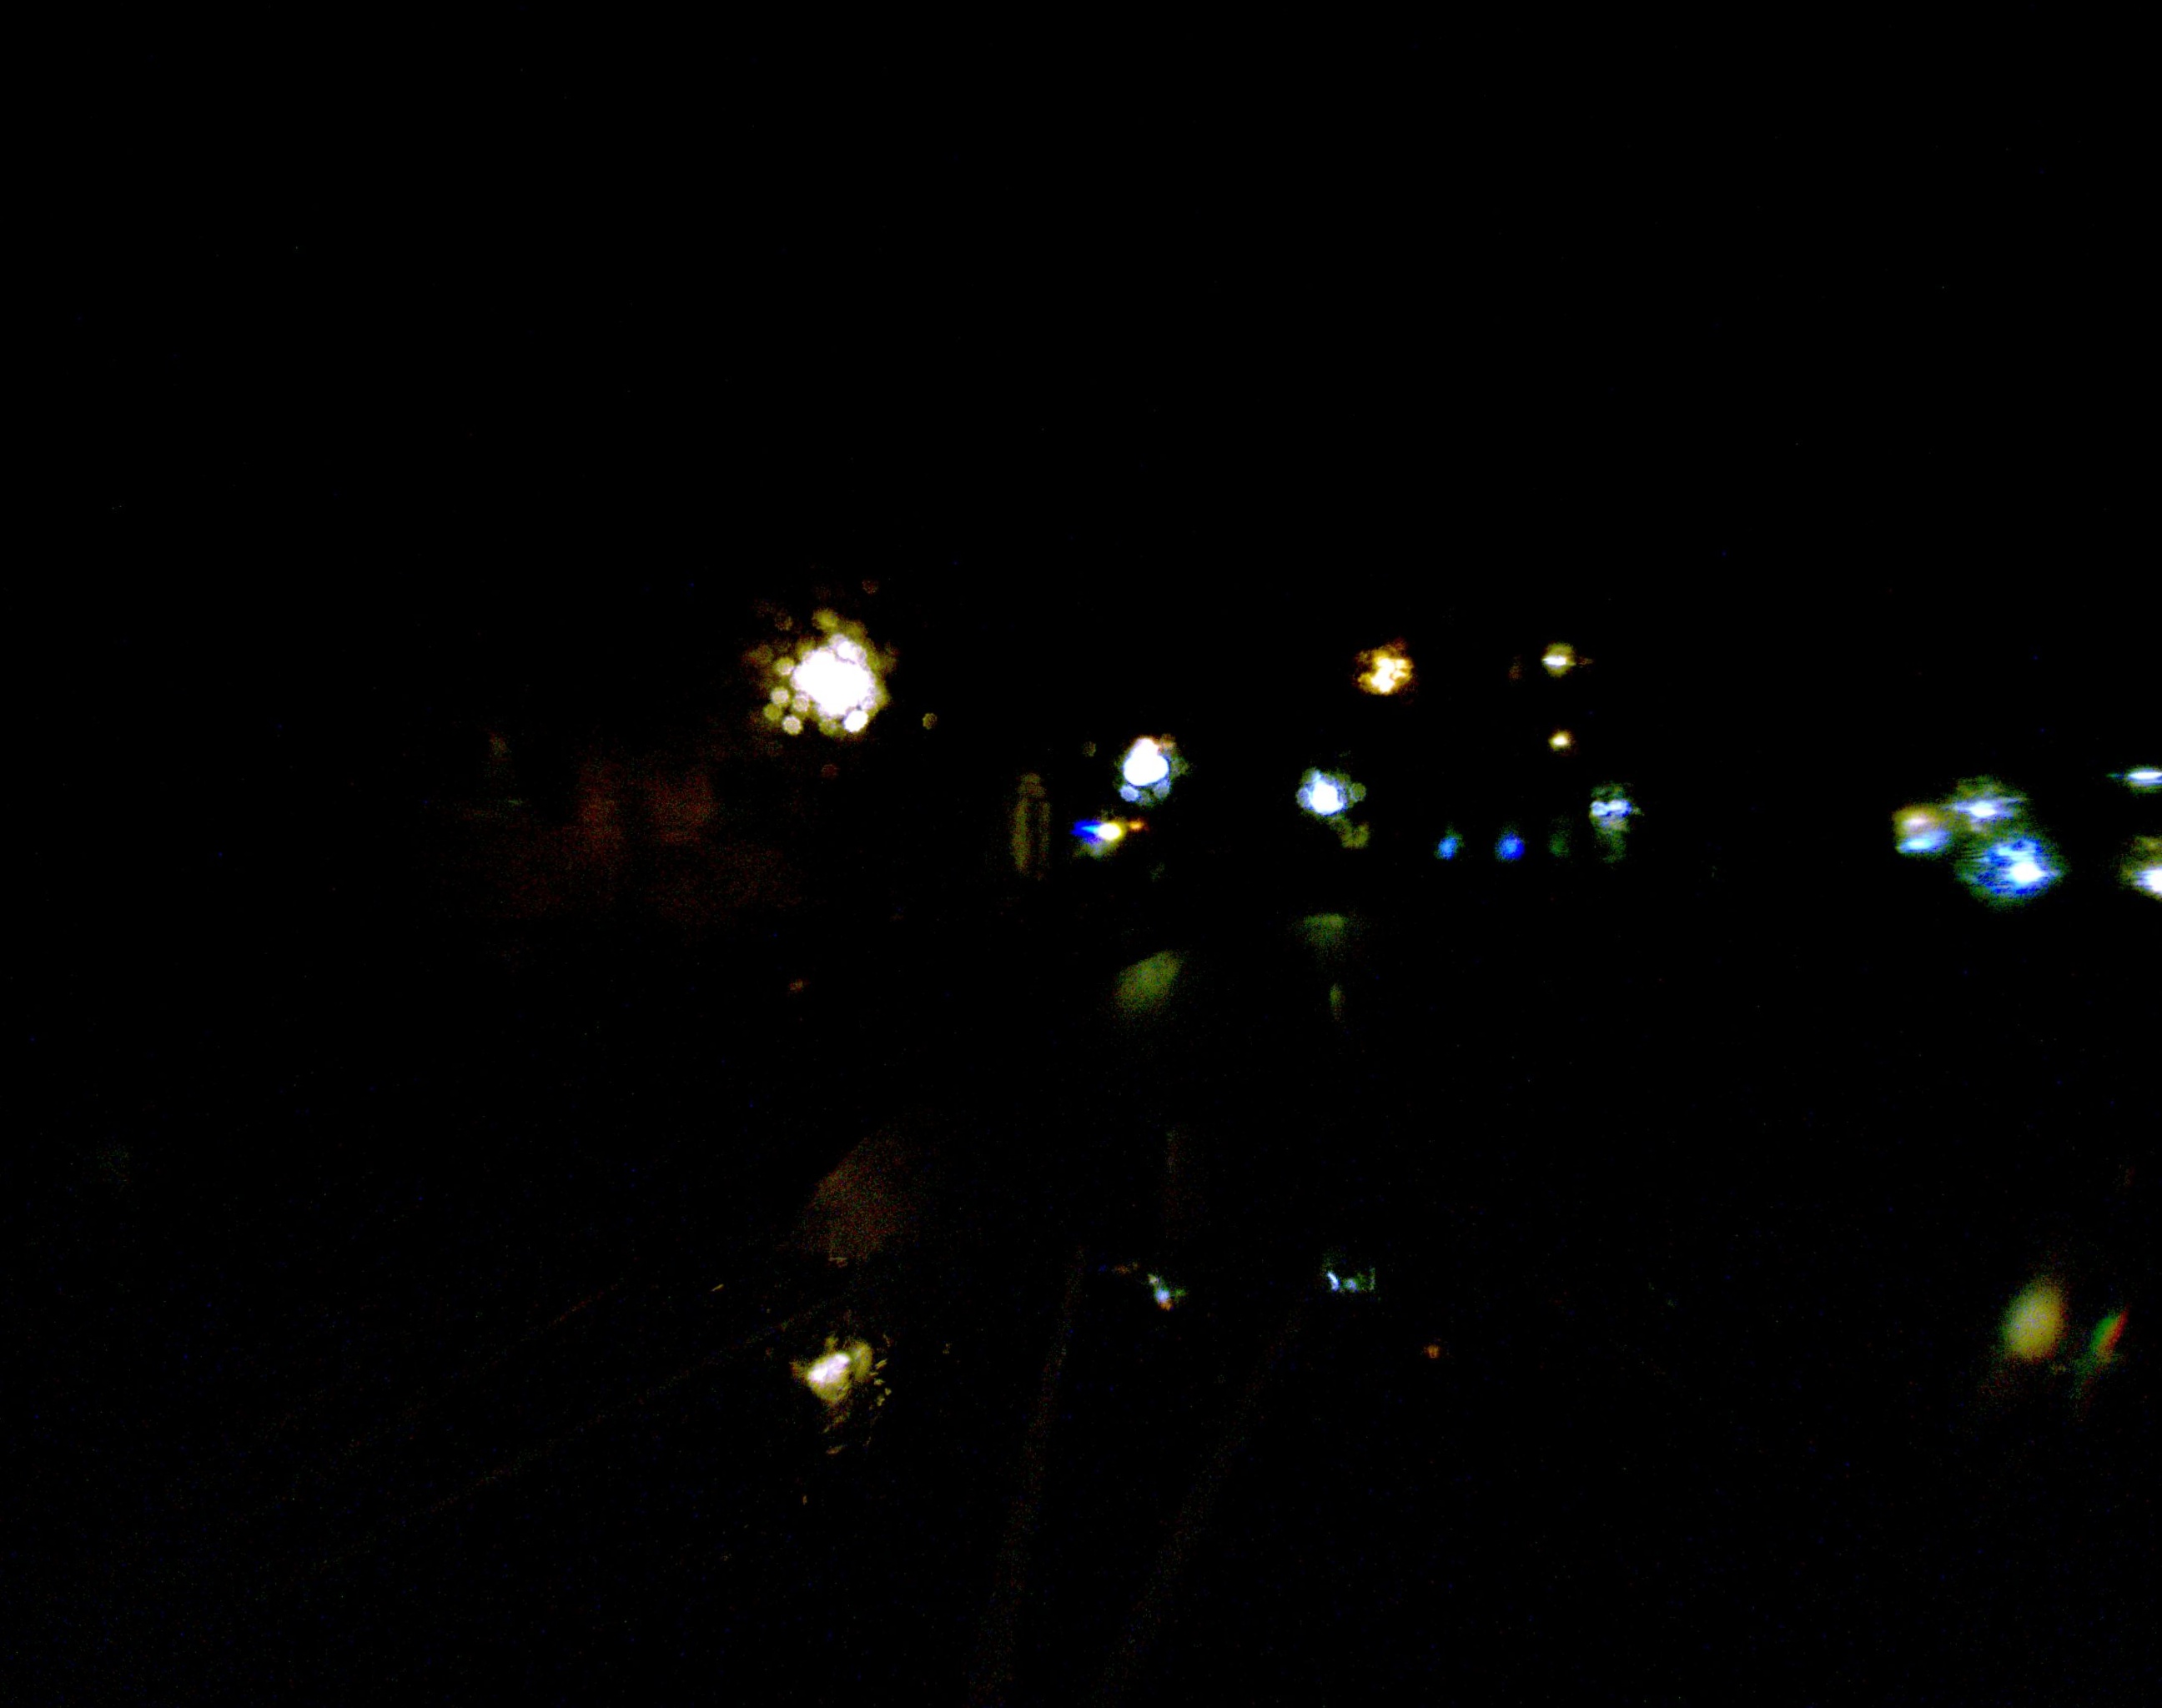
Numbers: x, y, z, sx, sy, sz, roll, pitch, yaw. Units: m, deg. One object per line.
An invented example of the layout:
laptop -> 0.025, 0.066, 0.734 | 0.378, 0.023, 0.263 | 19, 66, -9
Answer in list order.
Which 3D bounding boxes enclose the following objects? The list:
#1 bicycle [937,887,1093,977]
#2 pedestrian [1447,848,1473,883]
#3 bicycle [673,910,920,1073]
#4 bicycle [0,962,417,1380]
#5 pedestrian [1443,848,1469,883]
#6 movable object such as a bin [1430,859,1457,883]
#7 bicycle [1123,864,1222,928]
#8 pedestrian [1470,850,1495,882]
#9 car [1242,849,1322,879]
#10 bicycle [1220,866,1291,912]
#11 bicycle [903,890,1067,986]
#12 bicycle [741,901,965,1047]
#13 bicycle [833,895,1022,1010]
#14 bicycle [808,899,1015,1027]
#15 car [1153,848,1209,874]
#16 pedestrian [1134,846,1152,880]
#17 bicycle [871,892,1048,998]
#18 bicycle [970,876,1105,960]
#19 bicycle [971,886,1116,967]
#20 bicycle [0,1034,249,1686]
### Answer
bicycle -> -0.891, 0.983, 10.027 | 1.969, 1.001, 0.689 | 1, 1, 26
pedestrian -> 17.954, 0.535, 35.963 | 0.635, 1.628, 0.841 | -2, 0, -34
bicycle -> -2.280, 1.016, 6.029 | 1.969, 1.001, 0.643 | 1, 1, 26
bicycle -> -3.436, 0.951, 2.495 | 1.824, 1.081, 0.721 | 0, 1, -2
pedestrian -> 17.492, 0.538, 35.444 | 0.635, 1.628, 0.872 | -2, 0, -34
movable object such as a bin -> 17.485, 0.816, 36.662 | 0.635, 1.109, 0.921 | -2, 0, -34
bicycle -> 1.885, 0.831, 15.727 | 1.870, 1.210, 0.731 | 1, 1, 26
pedestrian -> 18.983, 0.552, 35.952 | 0.635, 1.484, 0.767 | -2, 0, -25
car -> 11.427, 0.541, 43.460 | 1.892, 1.584, 4.486 | -2, 1, -27
bicycle -> 4.300, 0.843, 18.725 | 1.621, 1.076, 0.565 | 0, 3, 25
bicycle -> -1.197, 0.989, 9.378 | 1.969, 1.001, 0.643 | 1, 1, 26
bicycle -> -2.029, 0.992, 6.689 | 1.969, 1.028, 0.643 | 1, 1, 26
bicycle -> -1.642, 0.990, 8.049 | 1.969, 1.001, 0.643 | 1, 1, 26
bicycle -> -1.657, 0.996, 7.341 | 1.969, 1.001, 0.643 | 1, 1, 26
car -> 6.917, 0.476, 53.000 | 1.883, 1.694, 4.277 | -2, 1, -25
pedestrian -> 3.250, 0.489, 39.571 | 0.688, 1.752, 1.044 | -1, -1, 19
bicycle -> -1.402, 0.986, 8.657 | 1.969, 1.001, 0.643 | 1, 1, 26
bicycle -> -0.667, 0.927, 11.470 | 1.927, 1.108, 0.731 | 1, 1, 26
bicycle -> -0.544, 0.992, 10.817 | 1.927, 0.982, 0.731 | 1, 1, 26
bicycle -> -2.998, 0.988, 1.348 | 1.976, 1.047, 0.641 | 0, 1, -18
